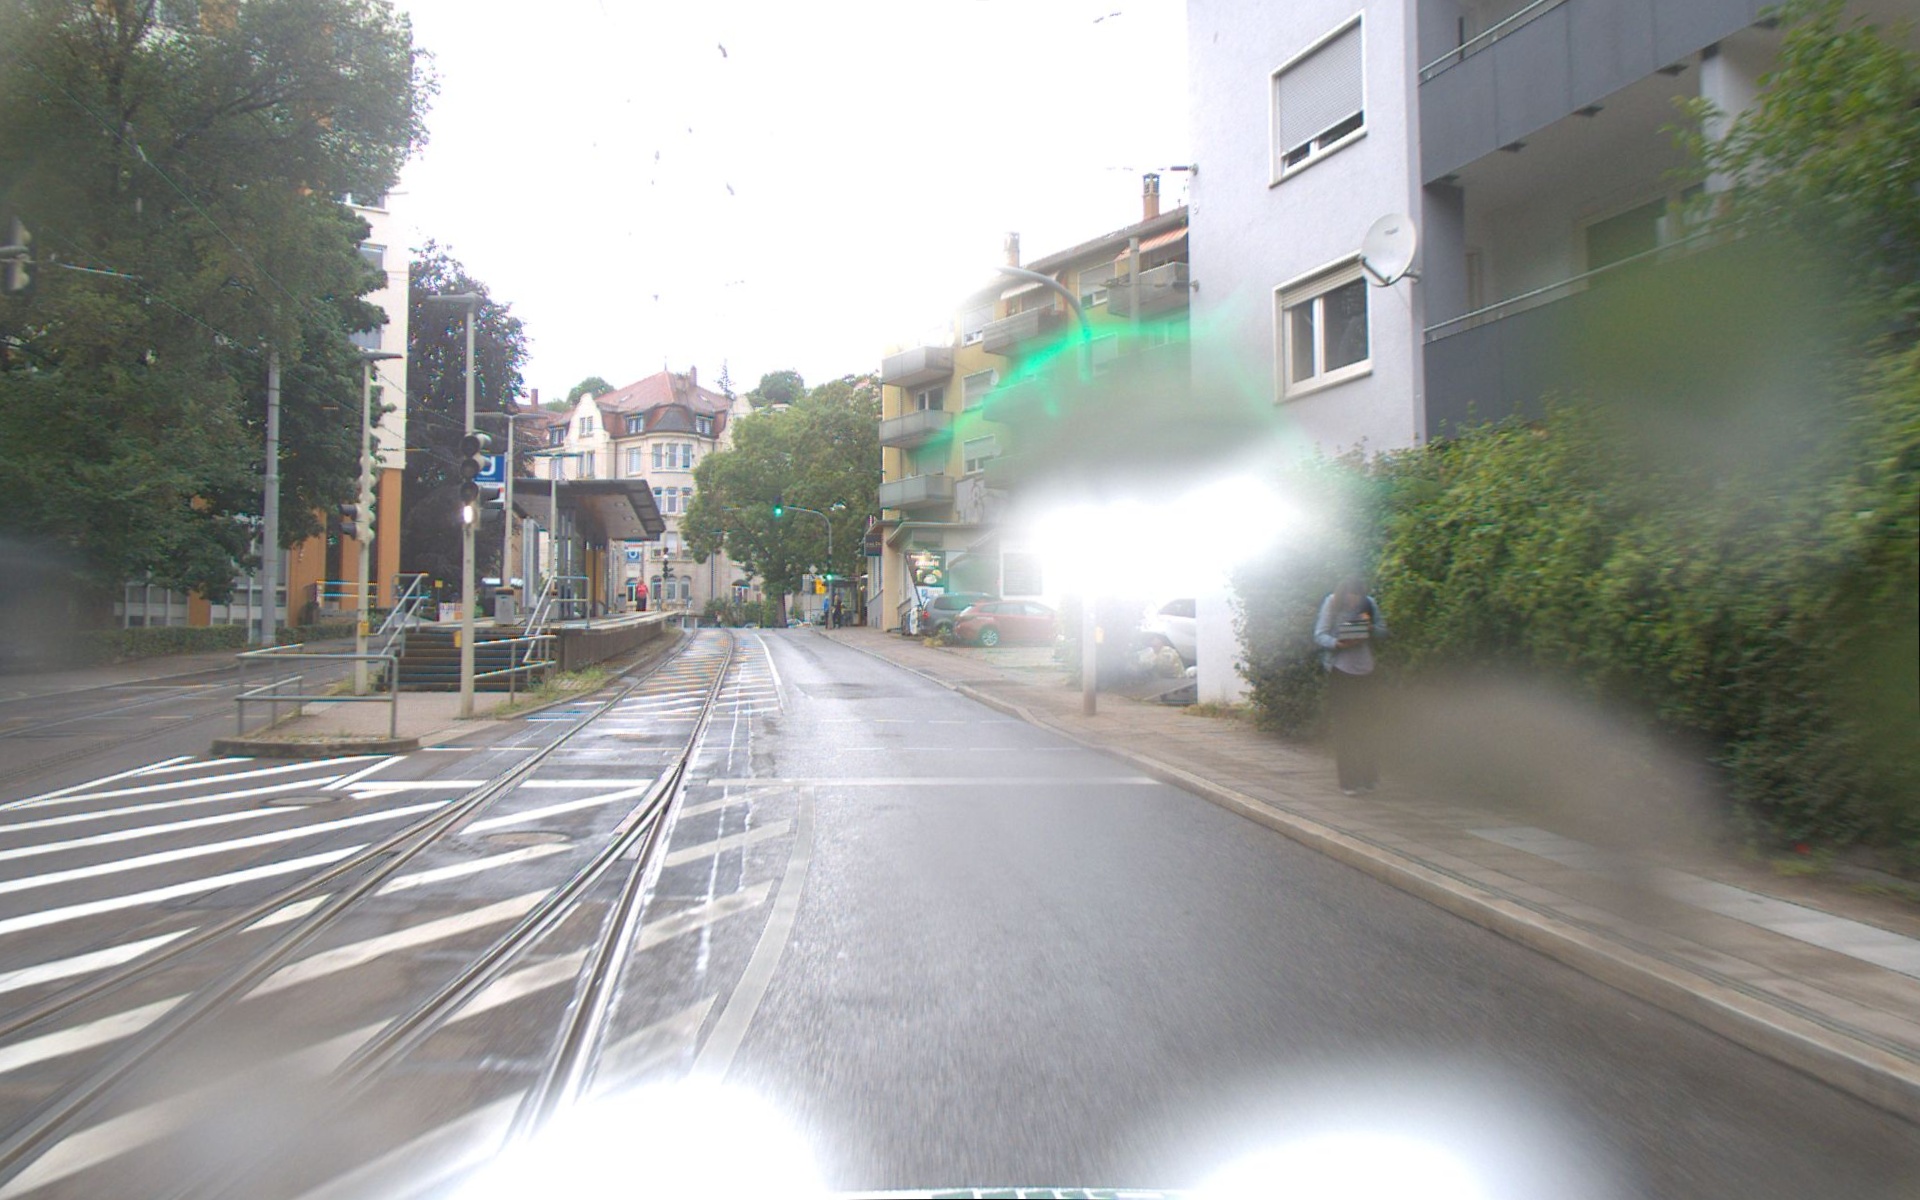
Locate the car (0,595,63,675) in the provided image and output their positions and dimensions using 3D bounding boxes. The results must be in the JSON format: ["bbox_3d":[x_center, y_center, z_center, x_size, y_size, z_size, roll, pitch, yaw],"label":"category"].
[{"bbox_3d":[-19.485,0.682,31.688,3.902,1.431,1.683,0,-4,15],"label":"car"}]

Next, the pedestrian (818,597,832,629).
[{"bbox_3d":[-6.652,0.642,81.580,0.568,1.493,0.541,2,-4,-15],"label":"pedestrian"}]

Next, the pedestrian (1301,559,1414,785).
[{"bbox_3d":[3.013,0.543,12.572,0.632,1.657,0.698,1,-2,-7],"label":"pedestrian"}]

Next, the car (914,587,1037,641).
[{"bbox_3d":[0.498,0.482,55.724,3.912,1.675,1.804,2,-3,-8],"label":"car"}]

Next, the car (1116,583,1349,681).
[{"bbox_3d":[5.034,0.614,30.763,3.913,1.675,1.803,2,-3,-9],"label":"car"}]

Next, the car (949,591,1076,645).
[{"bbox_3d":[1.629,0.581,52.171,3.769,1.570,1.804,1,-3,-7],"label":"car"}]

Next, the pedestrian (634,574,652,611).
[{"bbox_3d":[-13.319,-0.302,69.492,0.644,1.493,0.771,1,-4,-5],"label":"pedestrian"}]
